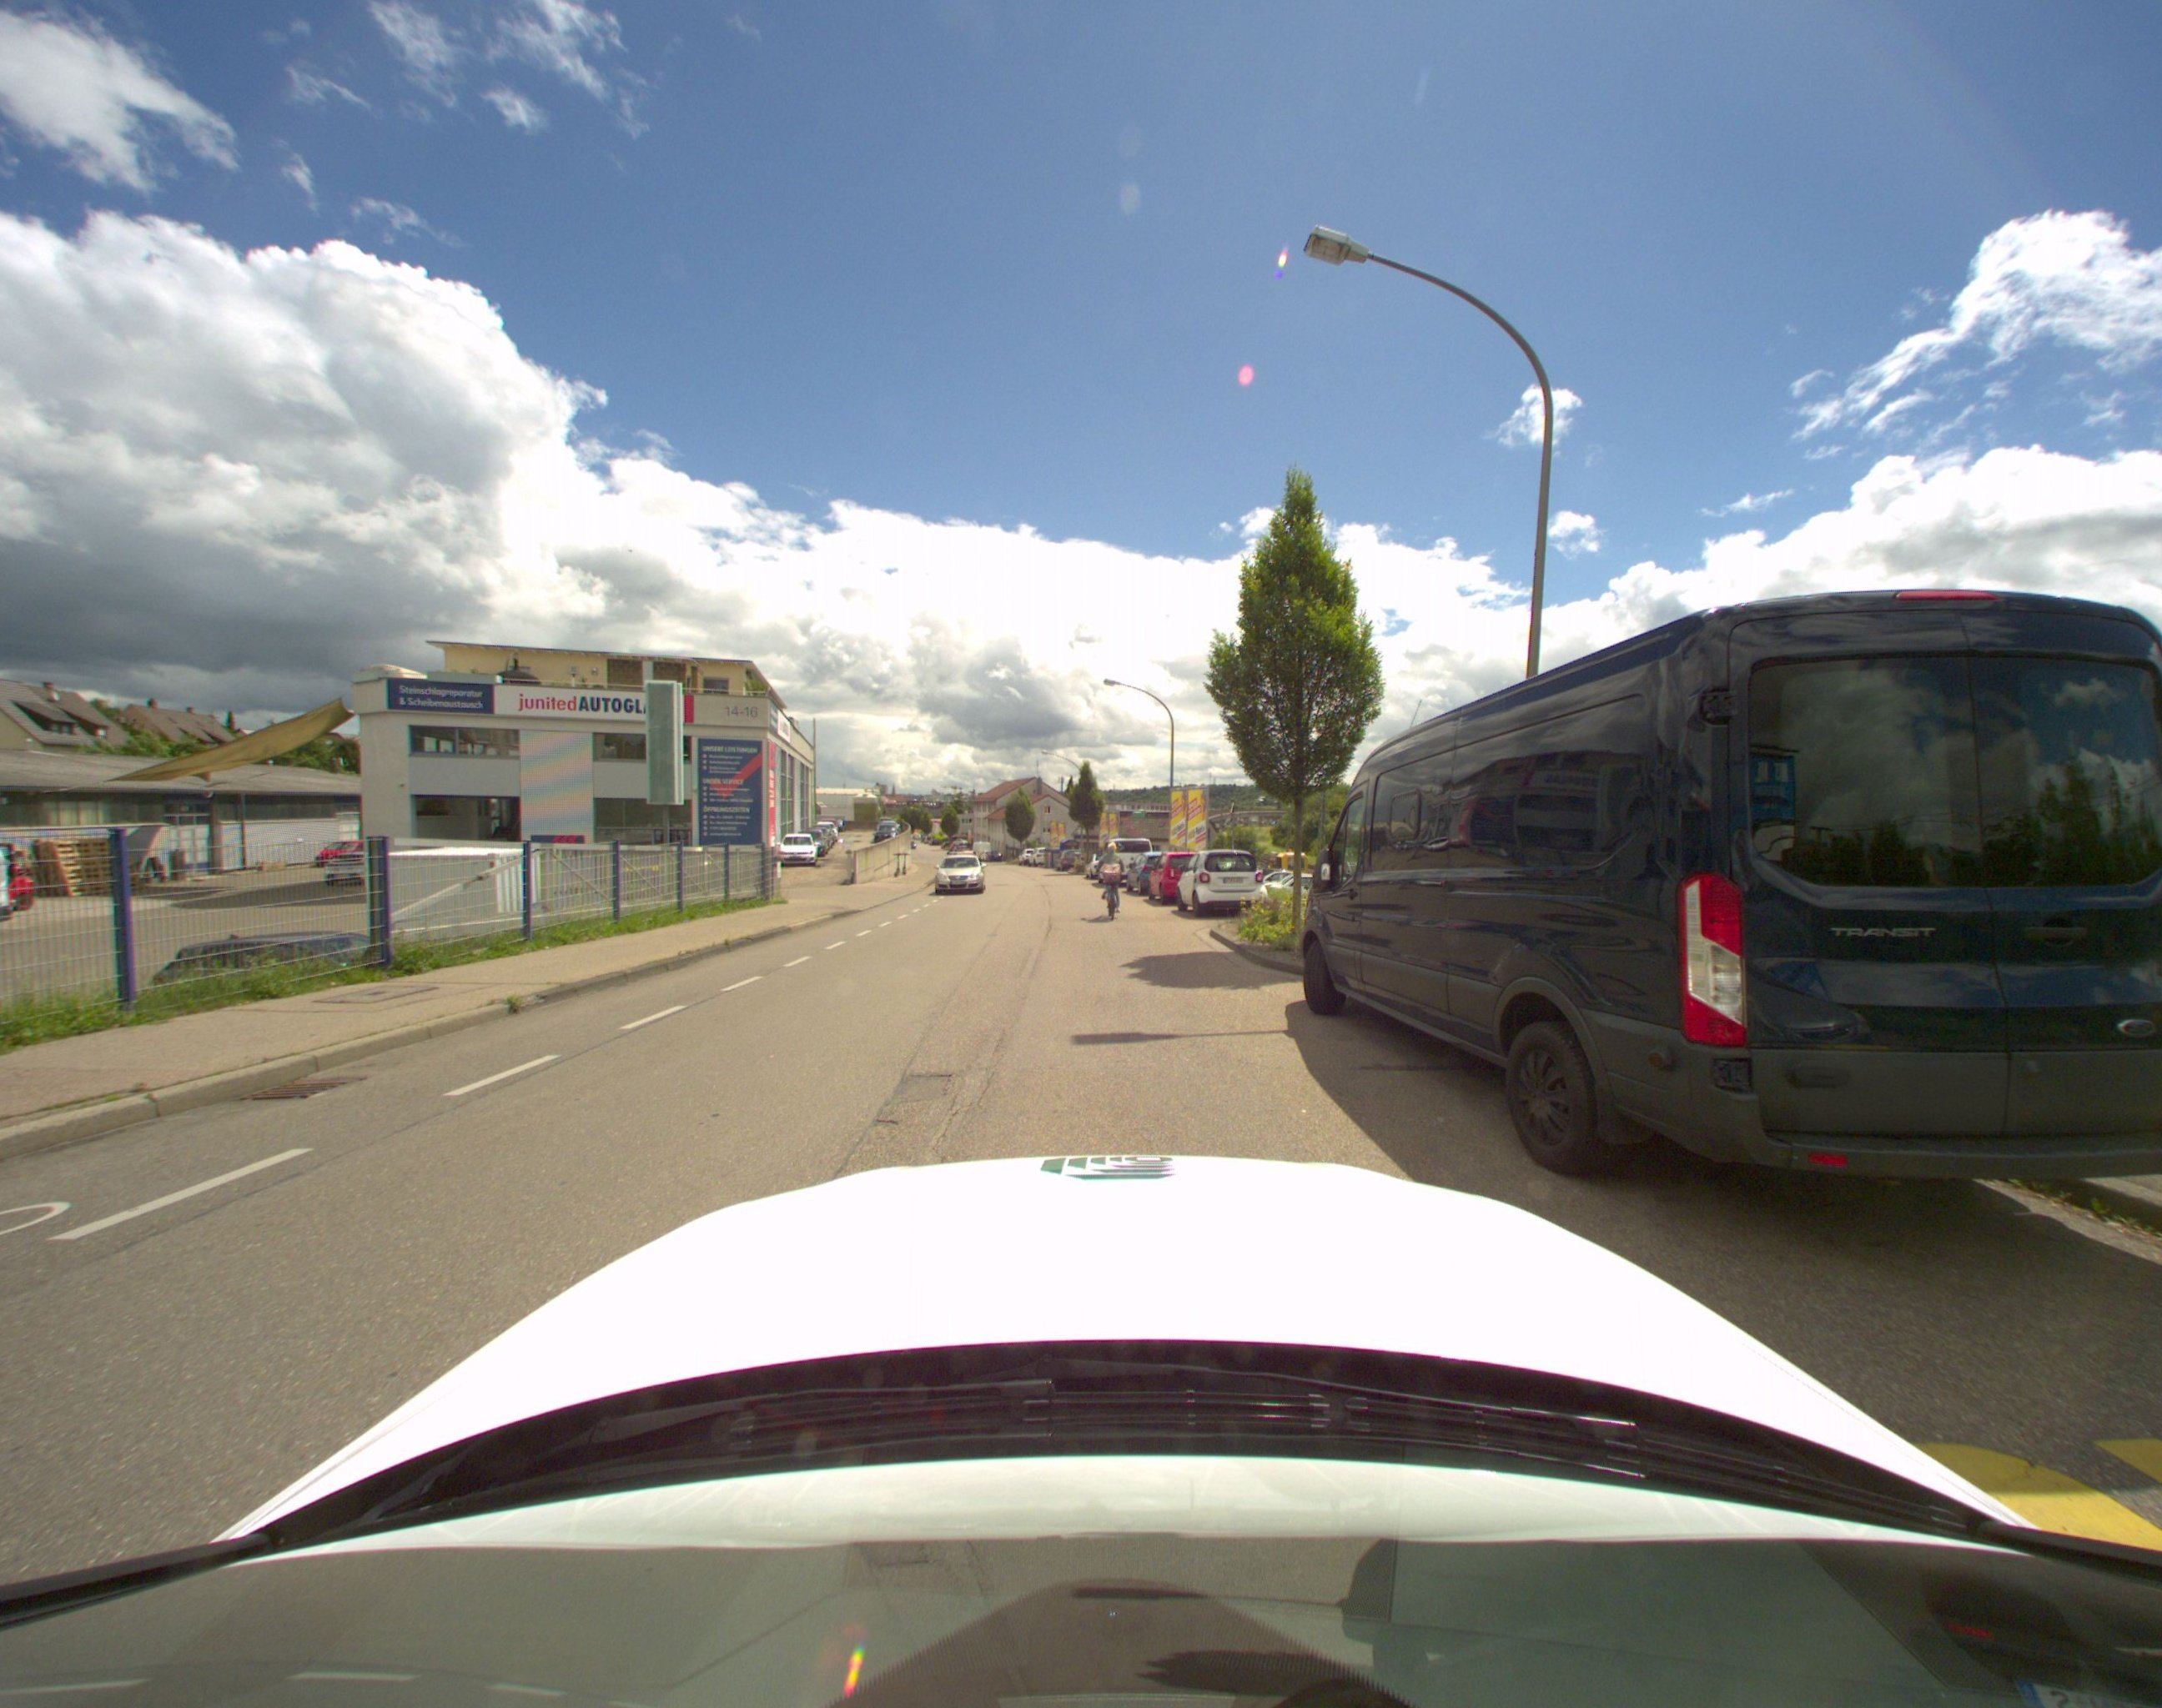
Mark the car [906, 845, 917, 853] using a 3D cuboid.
[{"bbox_3d":[-33.650,-0.940,161.602,1.993,1.420,3.987,-2,0,-10],"label":"car"}]

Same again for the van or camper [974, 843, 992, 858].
[{"bbox_3d":[-13.556,-0.471,112.829,1.996,2.013,3.982,2,0,-13],"label":"van or camper"}]

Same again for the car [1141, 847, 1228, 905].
[{"bbox_3d":[2.944,0.574,23.973,1.871,1.508,3.996,-1,0,-3],"label":"car"}]

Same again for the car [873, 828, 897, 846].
[{"bbox_3d":[-15.101,-1.346,62.799,1.671,1.323,3.704,-1,2,-11],"label":"car"}]

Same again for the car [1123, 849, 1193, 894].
[{"bbox_3d":[2.636,0.575,28.585,1.899,1.442,3.539,-1,0,-4],"label":"car"}]

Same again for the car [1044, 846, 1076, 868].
[{"bbox_3d":[-1.753,0.248,66.684,2.133,1.706,3.989,-2,0,-8],"label":"car"}]

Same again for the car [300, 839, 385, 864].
[{"bbox_3d":[-41.807,-0.173,46.241,1.997,1.354,3.979,0,0,-16],"label":"car"}]

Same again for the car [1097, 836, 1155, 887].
[{"bbox_3d":[1.868,0.284,35.246,1.989,2.013,4.913,1,0,-3],"label":"car"}]

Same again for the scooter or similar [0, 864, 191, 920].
[{"bbox_3d":[-33.360,1.232,27.441,4.003,1.662,1.986,-2,0,-22],"label":"scooter or similar"}]

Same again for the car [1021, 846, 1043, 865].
[{"bbox_3d":[-4.704,0.137,77.736,1.841,1.706,3.989,-1,0,-8],"label":"car"}]

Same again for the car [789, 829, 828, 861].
[{"bbox_3d":[-15.045,-0.485,45.063,1.698,1.629,3.701,-2,0,-14],"label":"car"}]

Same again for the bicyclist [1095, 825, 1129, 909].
[{"bbox_3d":[0.693,0.282,18.472,0.682,1.825,1.080,-1,0,0],"label":"bicyclist"}]

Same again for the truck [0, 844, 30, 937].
[{"bbox_3d":[-32.835,1.091,21.660,5.788,2.574,2.197,-2,0,-13],"label":"truck"}]

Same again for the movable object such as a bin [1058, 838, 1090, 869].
[{"bbox_3d":[-0.565,-0.022,62.413,2.133,2.302,2.551,-1,0,-8],"label":"movable object such as a bin"}]

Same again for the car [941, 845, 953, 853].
[{"bbox_3d":[-24.074,-0.854,146.488,1.995,1.464,3.984,-2,0,-12],"label":"car"}]

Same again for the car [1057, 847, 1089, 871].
[{"bbox_3d":[-0.583,0.338,57.847,1.990,1.618,3.994,-1,0,-4],"label":"car"}]

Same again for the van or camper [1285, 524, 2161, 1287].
[{"bbox_3d":[3.226,0.157,5.730,2.118,2.585,5.916,0,0,0],"label":"van or camper"}]

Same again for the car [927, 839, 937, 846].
[{"bbox_3d":[-35.242,-2.746,192.539,1.996,1.420,3.982,-2,0,-13],"label":"car"}]

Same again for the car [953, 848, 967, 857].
[{"bbox_3d":[-20.854,-0.307,140.331,1.995,1.464,3.984,-2,0,-12],"label":"car"}]

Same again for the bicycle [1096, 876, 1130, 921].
[{"bbox_3d":[0.710,0.979,18.535,0.685,0.878,2.102,-1,0,1],"label":"bicycle"}]

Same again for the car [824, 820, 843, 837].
[{"bbox_3d":[-25.969,-2.645,85.470,1.704,1.729,3.500,2,0,-14],"label":"car"}]

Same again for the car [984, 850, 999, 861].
[{"bbox_3d":[-11.956,0.190,108.529,1.992,1.464,3.990,-2,0,-7],"label":"car"}]

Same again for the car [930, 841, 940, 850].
[{"bbox_3d":[-33.778,-2.057,188.312,1.998,2.013,3.978,2,0,-16],"label":"car"}]

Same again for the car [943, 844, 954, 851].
[{"bbox_3d":[-26.502,-1.325,162.540,1.996,1.420,3.982,-2,0,-13],"label":"car"}]

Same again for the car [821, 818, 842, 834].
[{"bbox_3d":[-23.607,-2.665,77.211,1.672,1.323,3.701,-2,0,-14],"label":"car"}]

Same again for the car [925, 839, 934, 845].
[{"bbox_3d":[-37.662,-2.924,202.120,1.996,1.420,3.982,-2,0,-13],"label":"car"}]

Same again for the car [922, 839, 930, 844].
[{"bbox_3d":[-40.852,-3.313,214.439,1.996,1.420,3.982,-2,0,-13],"label":"car"}]

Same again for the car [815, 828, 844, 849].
[{"bbox_3d":[-17.658,-1.070,57.185,1.672,1.323,3.701,-2,0,-14],"label":"car"}]

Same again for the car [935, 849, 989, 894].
[{"bbox_3d":[-4.469,0.603,31.041,1.699,1.562,4.321,-1,0,-4],"label":"car"}]

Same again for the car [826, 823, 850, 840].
[{"bbox_3d":[-20.479,-1.850,68.686,1.672,1.323,3.701,-2,0,-14],"label":"car"}]

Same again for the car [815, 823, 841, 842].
[{"bbox_3d":[-19.711,-1.681,63.660,1.672,1.323,3.701,-2,0,-14],"label":"car"}]

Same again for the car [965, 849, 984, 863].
[{"bbox_3d":[-13.256,0.215,101.230,1.996,1.618,3.982,-2,0,-13],"label":"car"}]

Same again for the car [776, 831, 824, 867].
[{"bbox_3d":[-13.801,-0.242,40.177,1.850,1.650,3.981,-2,0,-14],"label":"car"}]

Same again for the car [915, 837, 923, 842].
[{"bbox_3d":[-48.789,-4.243,245.228,1.996,1.420,3.982,-2,0,-13],"label":"car"}]

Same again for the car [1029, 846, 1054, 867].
[{"bbox_3d":[-3.556,0.210,72.007,1.812,1.706,3.989,-1,0,-8],"label":"car"}]

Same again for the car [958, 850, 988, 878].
[{"bbox_3d":[-6.543,0.571,49.753,1.707,1.574,3.990,-1,0,-7],"label":"car"}]

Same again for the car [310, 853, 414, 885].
[{"bbox_3d":[-32.798,0.659,37.307,1.997,1.354,3.979,0,0,-16],"label":"car"}]

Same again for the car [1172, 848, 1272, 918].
[{"bbox_3d":[3.307,0.636,19.600,1.789,1.506,2.903,-1,0,-3],"label":"car"}]

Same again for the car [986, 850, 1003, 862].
[{"bbox_3d":[-10.997,0.246,103.693,1.992,1.464,3.990,-2,0,-7],"label":"car"}]

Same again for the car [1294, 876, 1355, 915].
[{"bbox_3d":[10.800,1.805,36.382,1.615,1.506,3.577,-1,0,-1],"label":"car"}]

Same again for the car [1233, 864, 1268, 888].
[{"bbox_3d":[11.710,1.506,56.514,1.615,1.506,3.577,-1,0,-1],"label":"car"}]

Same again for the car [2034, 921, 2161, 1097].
[{"bbox_3d":[10.711,1.497,6.577,1.700,1.510,3.696,1,1,0],"label":"car"}]
